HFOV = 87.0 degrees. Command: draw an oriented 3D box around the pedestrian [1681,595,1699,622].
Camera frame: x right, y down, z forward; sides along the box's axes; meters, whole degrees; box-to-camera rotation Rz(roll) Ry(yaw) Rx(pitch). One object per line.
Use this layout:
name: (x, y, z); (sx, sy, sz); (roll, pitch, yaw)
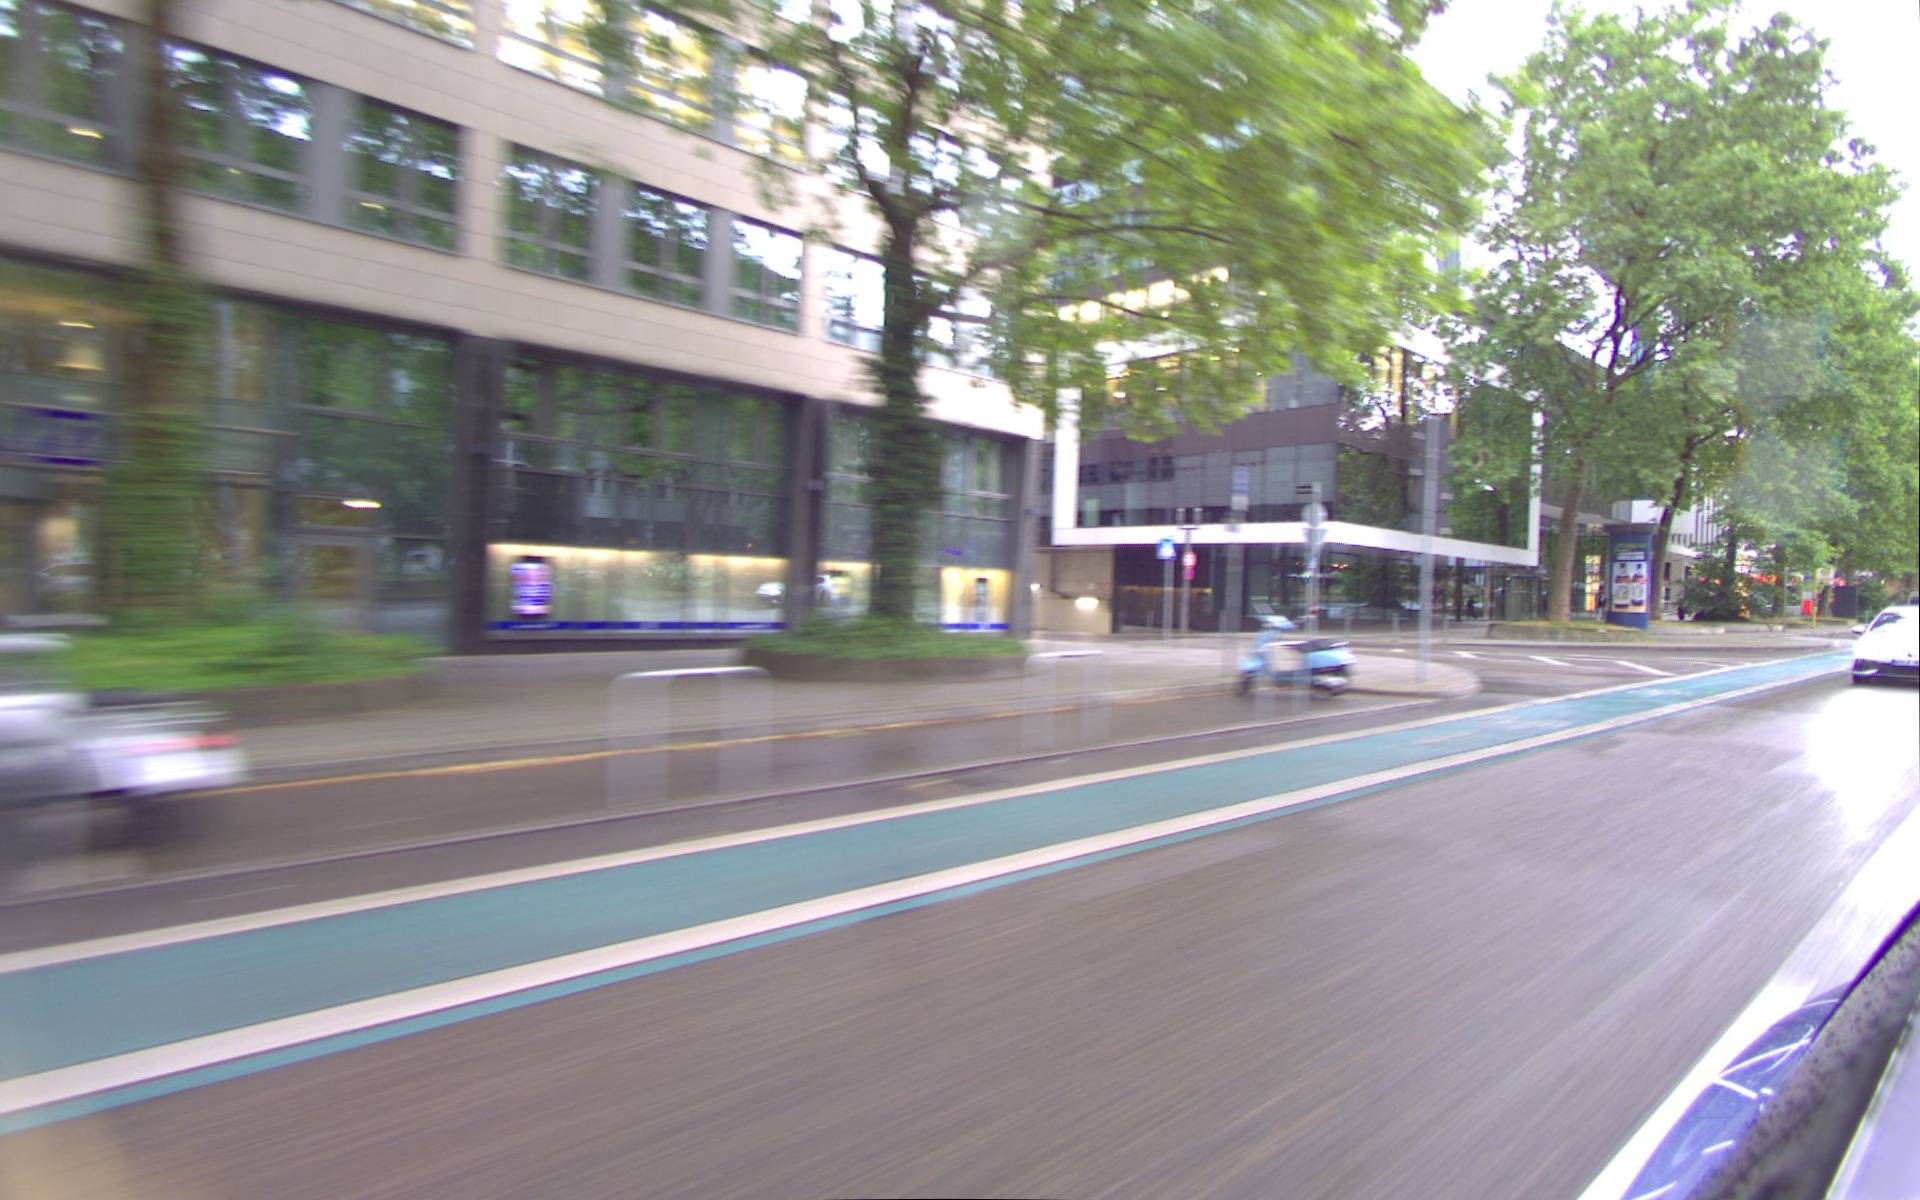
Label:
pedestrian: (41.877, 0.508, 58.056); (0.987, 1.524, 0.588); (1, 1, -40)

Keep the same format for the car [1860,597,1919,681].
car: (18.532, 0.691, 19.127); (3.726, 1.490, 1.794); (0, 0, -40)

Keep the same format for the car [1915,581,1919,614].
car: (81.978, -0.184, 82.294); (2.275, 2.714, 6.292); (0, 1, -5)

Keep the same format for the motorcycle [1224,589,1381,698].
motorcycle: (4.826, 0.598, 14.337); (1.908, 1.383, 0.685); (3, 3, 0)

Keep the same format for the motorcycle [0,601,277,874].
motorcycle: (-4.927, 0.690, 5.636); (2.030, 1.227, 0.682); (3, 3, 14)
